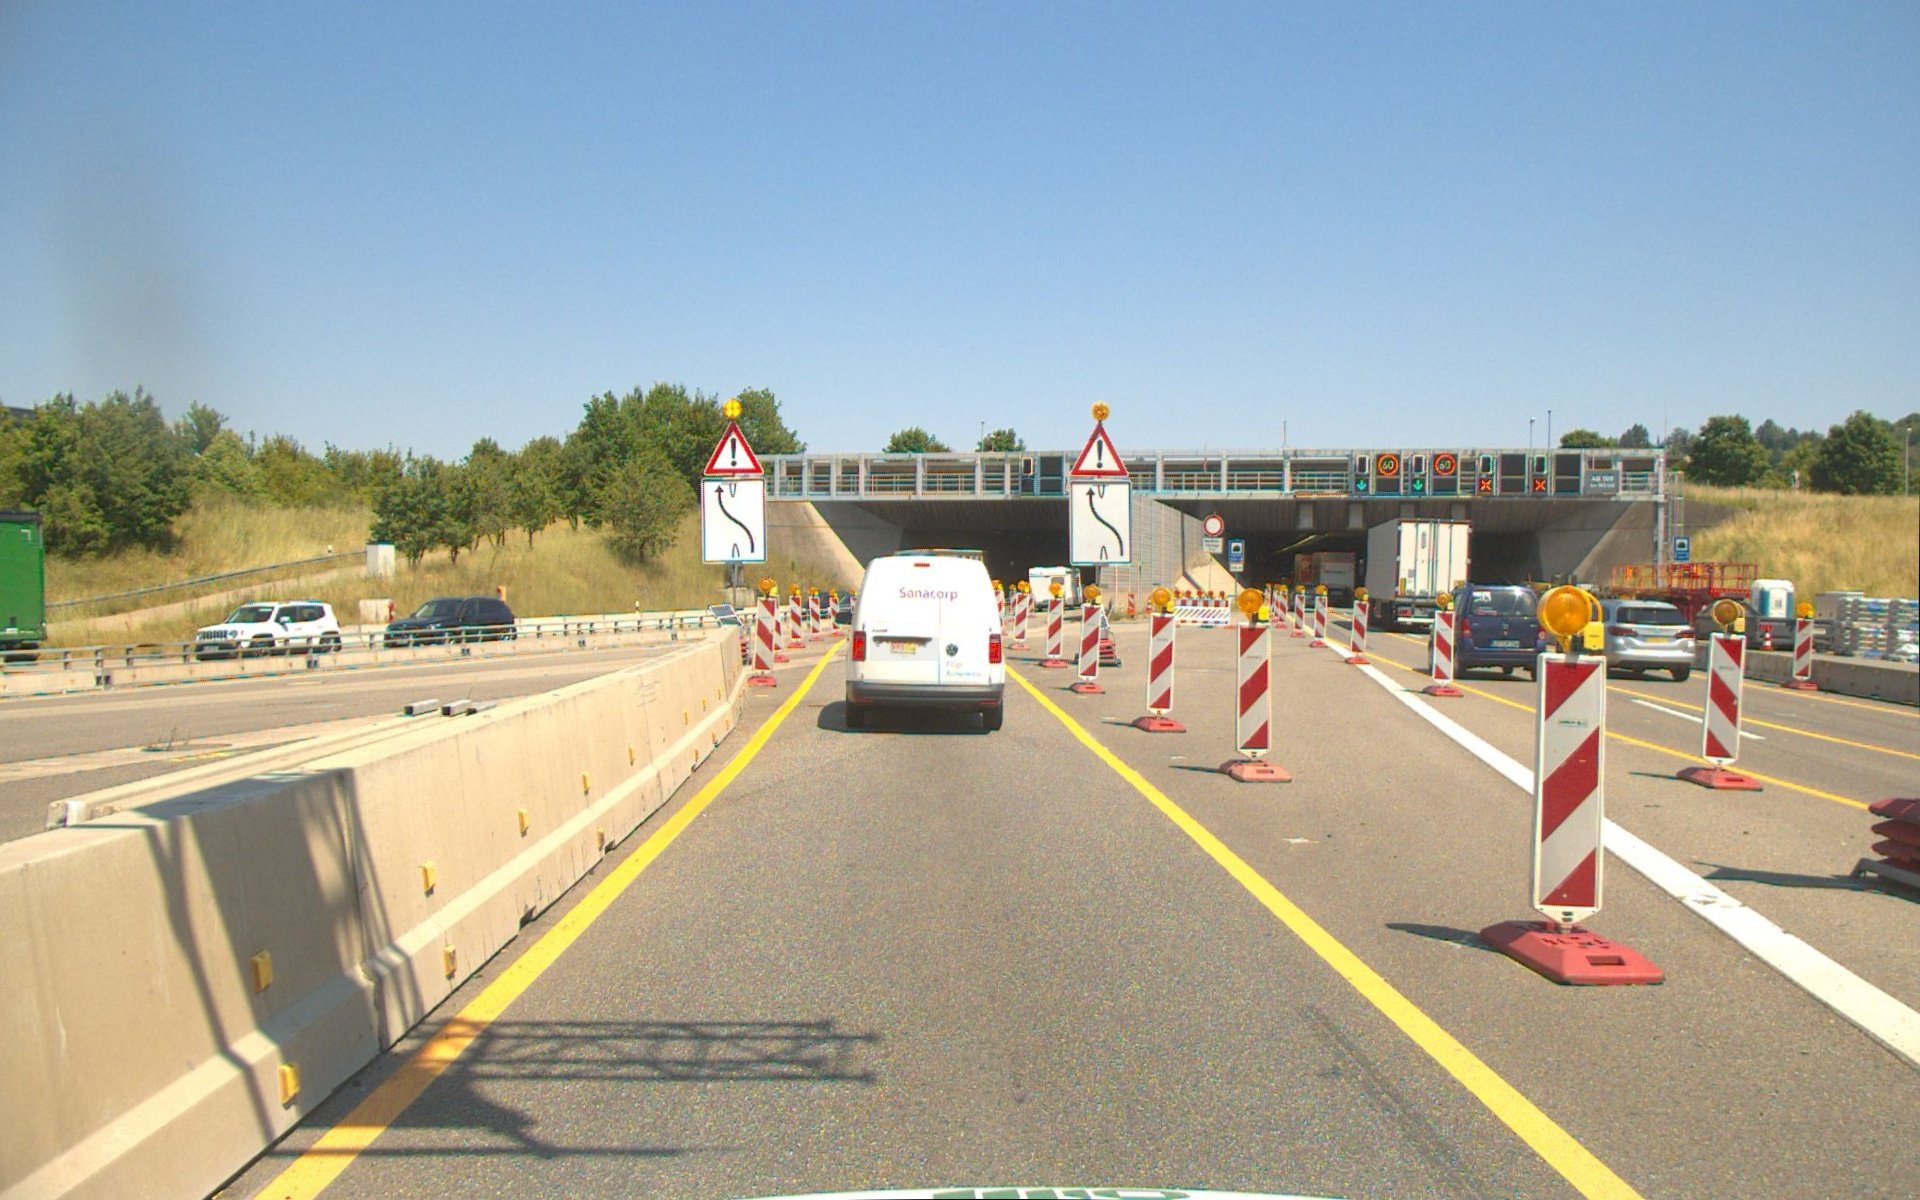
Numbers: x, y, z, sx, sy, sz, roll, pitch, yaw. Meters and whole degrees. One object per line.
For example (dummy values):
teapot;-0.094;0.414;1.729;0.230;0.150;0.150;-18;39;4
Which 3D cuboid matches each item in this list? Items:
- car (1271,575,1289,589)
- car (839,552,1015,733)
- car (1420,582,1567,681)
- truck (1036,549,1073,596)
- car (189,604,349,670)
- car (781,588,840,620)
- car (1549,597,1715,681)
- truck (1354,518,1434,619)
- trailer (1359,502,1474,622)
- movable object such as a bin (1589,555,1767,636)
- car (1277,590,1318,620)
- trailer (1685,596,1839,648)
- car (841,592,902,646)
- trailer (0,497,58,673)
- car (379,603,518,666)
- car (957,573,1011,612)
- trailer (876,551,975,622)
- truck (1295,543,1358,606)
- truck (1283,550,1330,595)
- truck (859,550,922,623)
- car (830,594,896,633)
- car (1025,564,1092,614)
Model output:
car;46.130;-2.626;238.472;2.282;1.870;4.547;2;0;8
car;-0.370;0.424;18.708;1.772;1.825;3.730;0;0;-1
car;9.940;0.548;31.166;1.776;1.671;4.656;2;0;7
truck;8.730;-2.507;153.059;2.285;4.179;5.020;-1;0;17
car;-18.422;0.951;44.313;1.679;1.652;4.172;0;0;17
car;-7.403;0.185;82.074;1.679;1.517;3.690;0;0;16
car;13.240;0.711;32.882;1.776;1.490;4.655;2;0;5
truck;18.788;-1.311;71.878;2.686;4.103;5.931;2;0;9
trailer;17.678;-1.343;64.954;2.674;4.133;14.107;2;0;9
movable object such as a bin;30.379;-0.207;70.891;3.045;3.063;14.713;-1;0;8
car;19.346;0.280;95.009;1.777;1.658;4.192;2;0;5
trailer;27.196;0.693;56.377;2.540;1.596;6.239;-1;0;4
car;-2.746;0.545;50.394;1.773;1.564;4.406;0;0;-4
trailer;-27.242;-0.419;36.574;3.473;4.345;13.910;1;0;20
car;-14.343;0.924;46.626;1.679;1.652;4.172;0;0;17
car;1.185;-0.360;79.586;1.770;1.781;4.413;0;0;11
trailer;-2.087;-0.876;108.030;2.384;4.372;13.818;0;0;16
truck;28.496;-1.834;129.280;3.329;4.411;16.548;2;0;8
truck;35.151;-2.699;168.275;3.329;4.142;16.549;2;0;8
truck;-4.192;-0.834;100.766;2.380;4.344;4.842;0;0;16
car;-4.519;0.624;77.636;1.661;1.760;4.454;0;0;17
car;5.973;-0.629;98.992;2.754;2.822;7.106;-1;-1;13
